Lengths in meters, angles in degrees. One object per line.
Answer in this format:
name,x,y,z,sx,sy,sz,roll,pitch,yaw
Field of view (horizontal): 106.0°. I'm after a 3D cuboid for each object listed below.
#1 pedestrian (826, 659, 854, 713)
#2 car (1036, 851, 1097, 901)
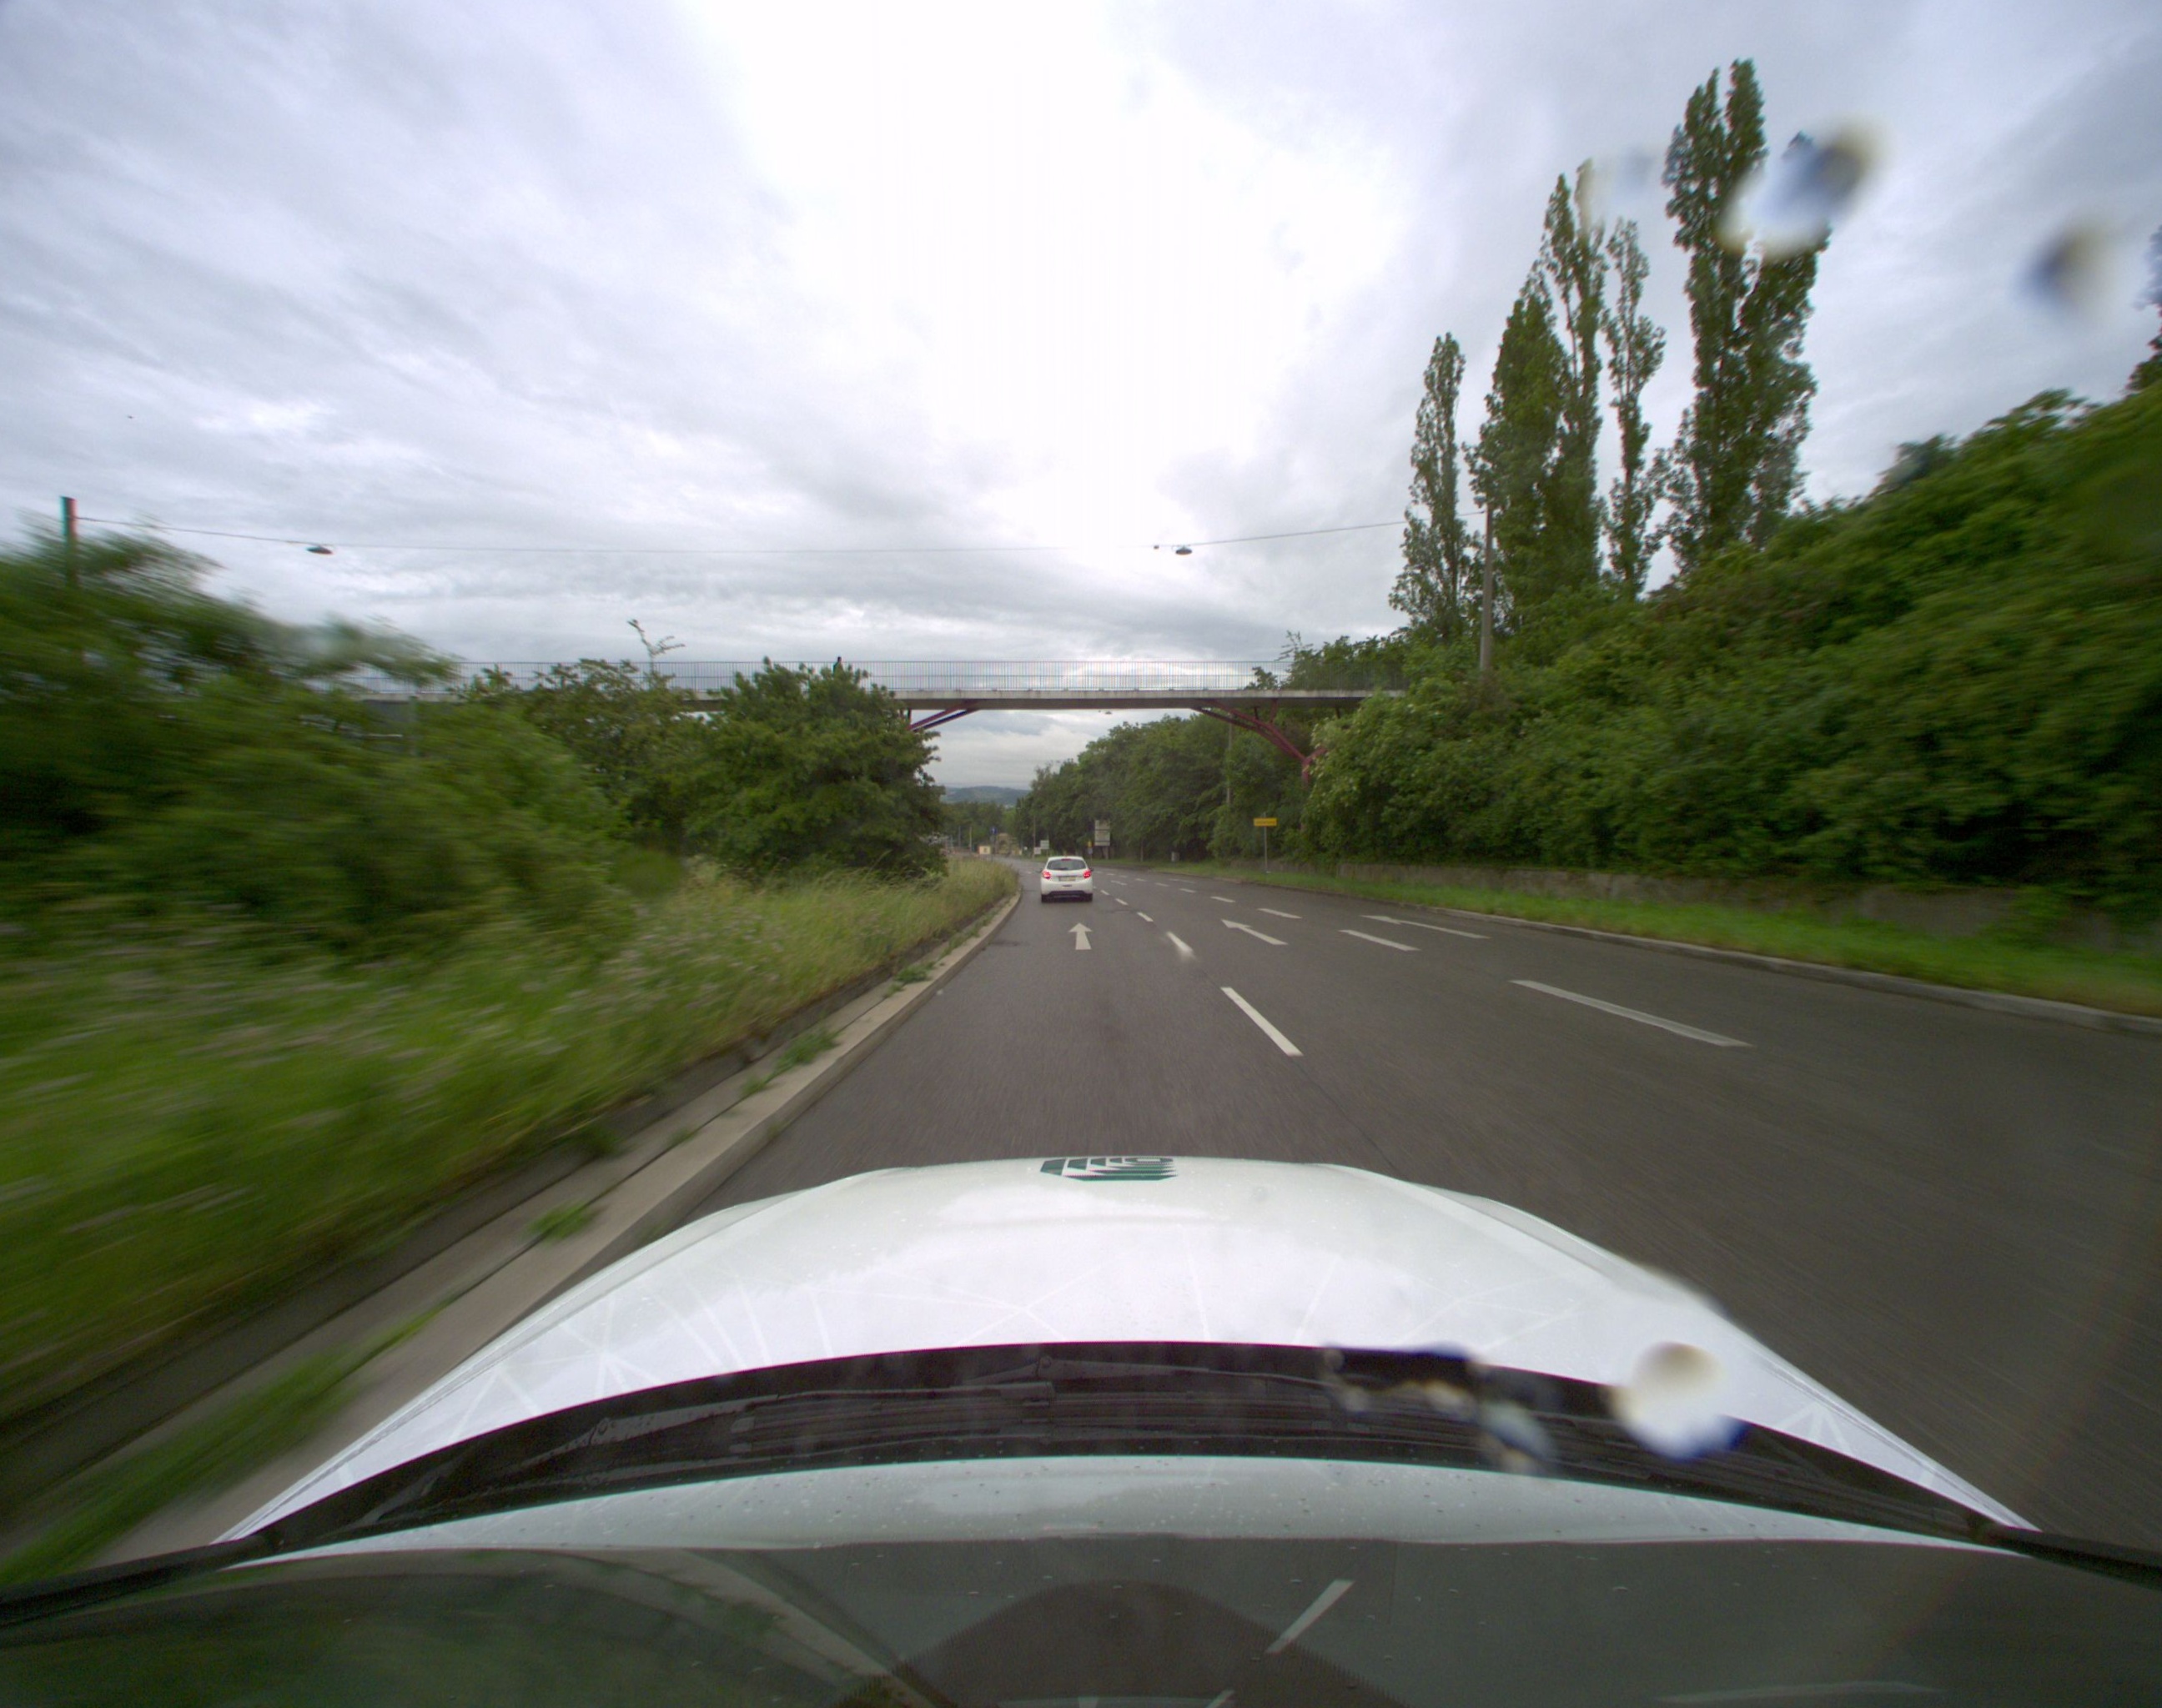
pedestrian,-10.341,-7.216,34.972,0.913,2.143,0.731,-3,0,-5
car,-0.549,0.687,27.462,1.865,1.511,3.895,-1,1,-4
